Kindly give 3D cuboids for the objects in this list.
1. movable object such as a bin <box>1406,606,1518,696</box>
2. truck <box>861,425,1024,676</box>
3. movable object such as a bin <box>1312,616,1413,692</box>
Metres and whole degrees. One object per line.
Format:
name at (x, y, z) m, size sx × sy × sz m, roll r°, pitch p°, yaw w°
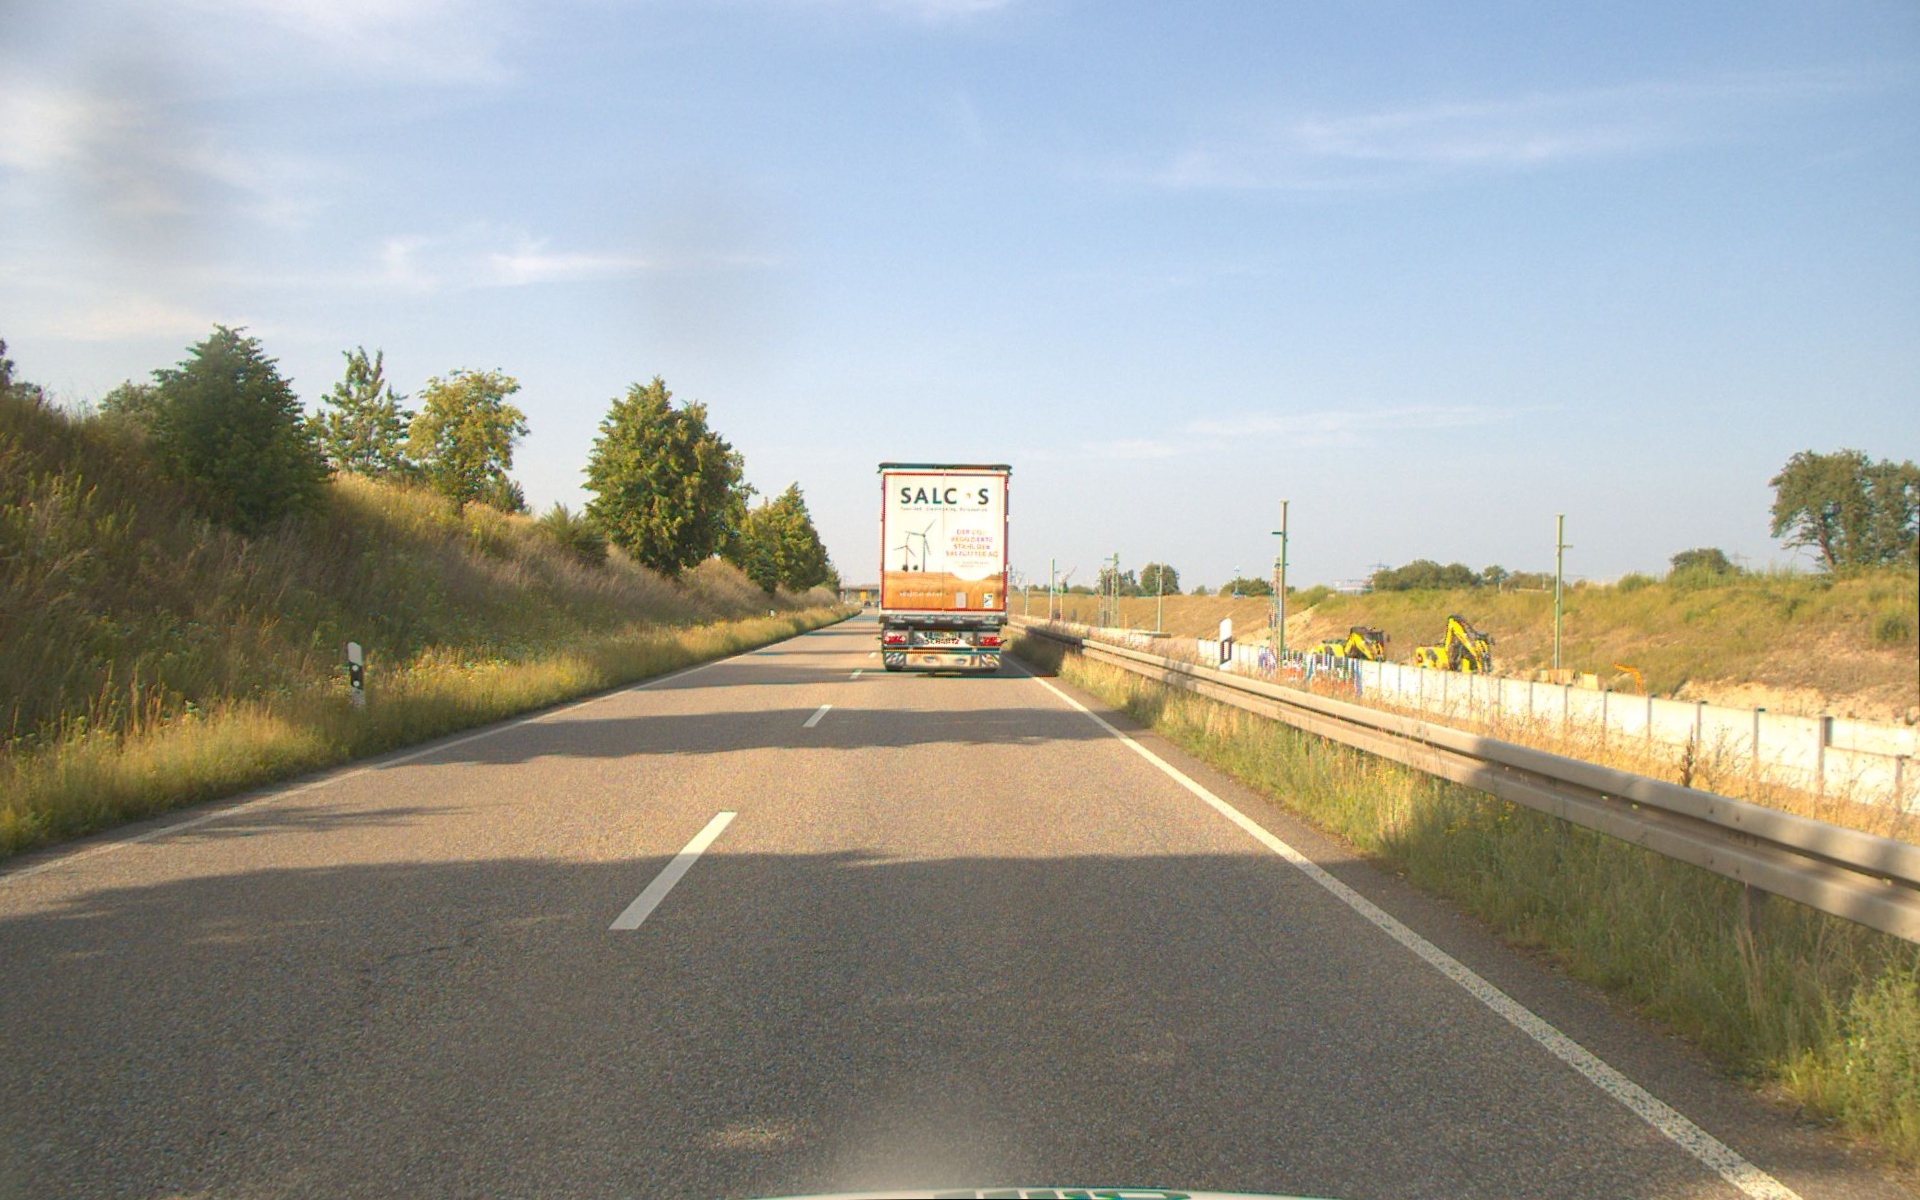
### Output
movable object such as a bin at (23.557, 2.303, 78.061) m, size 2.740 × 3.954 × 7.535 m, roll 1°, pitch 0°, yaw -2°
truck at (-0.391, -0.949, 35.728) m, size 3.089 × 4.770 × 8.440 m, roll 0°, pitch 0°, yaw -1°
movable object such as a bin at (19.133, 2.479, 79.136) m, size 2.569 × 3.296 × 8.070 m, roll 1°, pitch 0°, yaw -2°
